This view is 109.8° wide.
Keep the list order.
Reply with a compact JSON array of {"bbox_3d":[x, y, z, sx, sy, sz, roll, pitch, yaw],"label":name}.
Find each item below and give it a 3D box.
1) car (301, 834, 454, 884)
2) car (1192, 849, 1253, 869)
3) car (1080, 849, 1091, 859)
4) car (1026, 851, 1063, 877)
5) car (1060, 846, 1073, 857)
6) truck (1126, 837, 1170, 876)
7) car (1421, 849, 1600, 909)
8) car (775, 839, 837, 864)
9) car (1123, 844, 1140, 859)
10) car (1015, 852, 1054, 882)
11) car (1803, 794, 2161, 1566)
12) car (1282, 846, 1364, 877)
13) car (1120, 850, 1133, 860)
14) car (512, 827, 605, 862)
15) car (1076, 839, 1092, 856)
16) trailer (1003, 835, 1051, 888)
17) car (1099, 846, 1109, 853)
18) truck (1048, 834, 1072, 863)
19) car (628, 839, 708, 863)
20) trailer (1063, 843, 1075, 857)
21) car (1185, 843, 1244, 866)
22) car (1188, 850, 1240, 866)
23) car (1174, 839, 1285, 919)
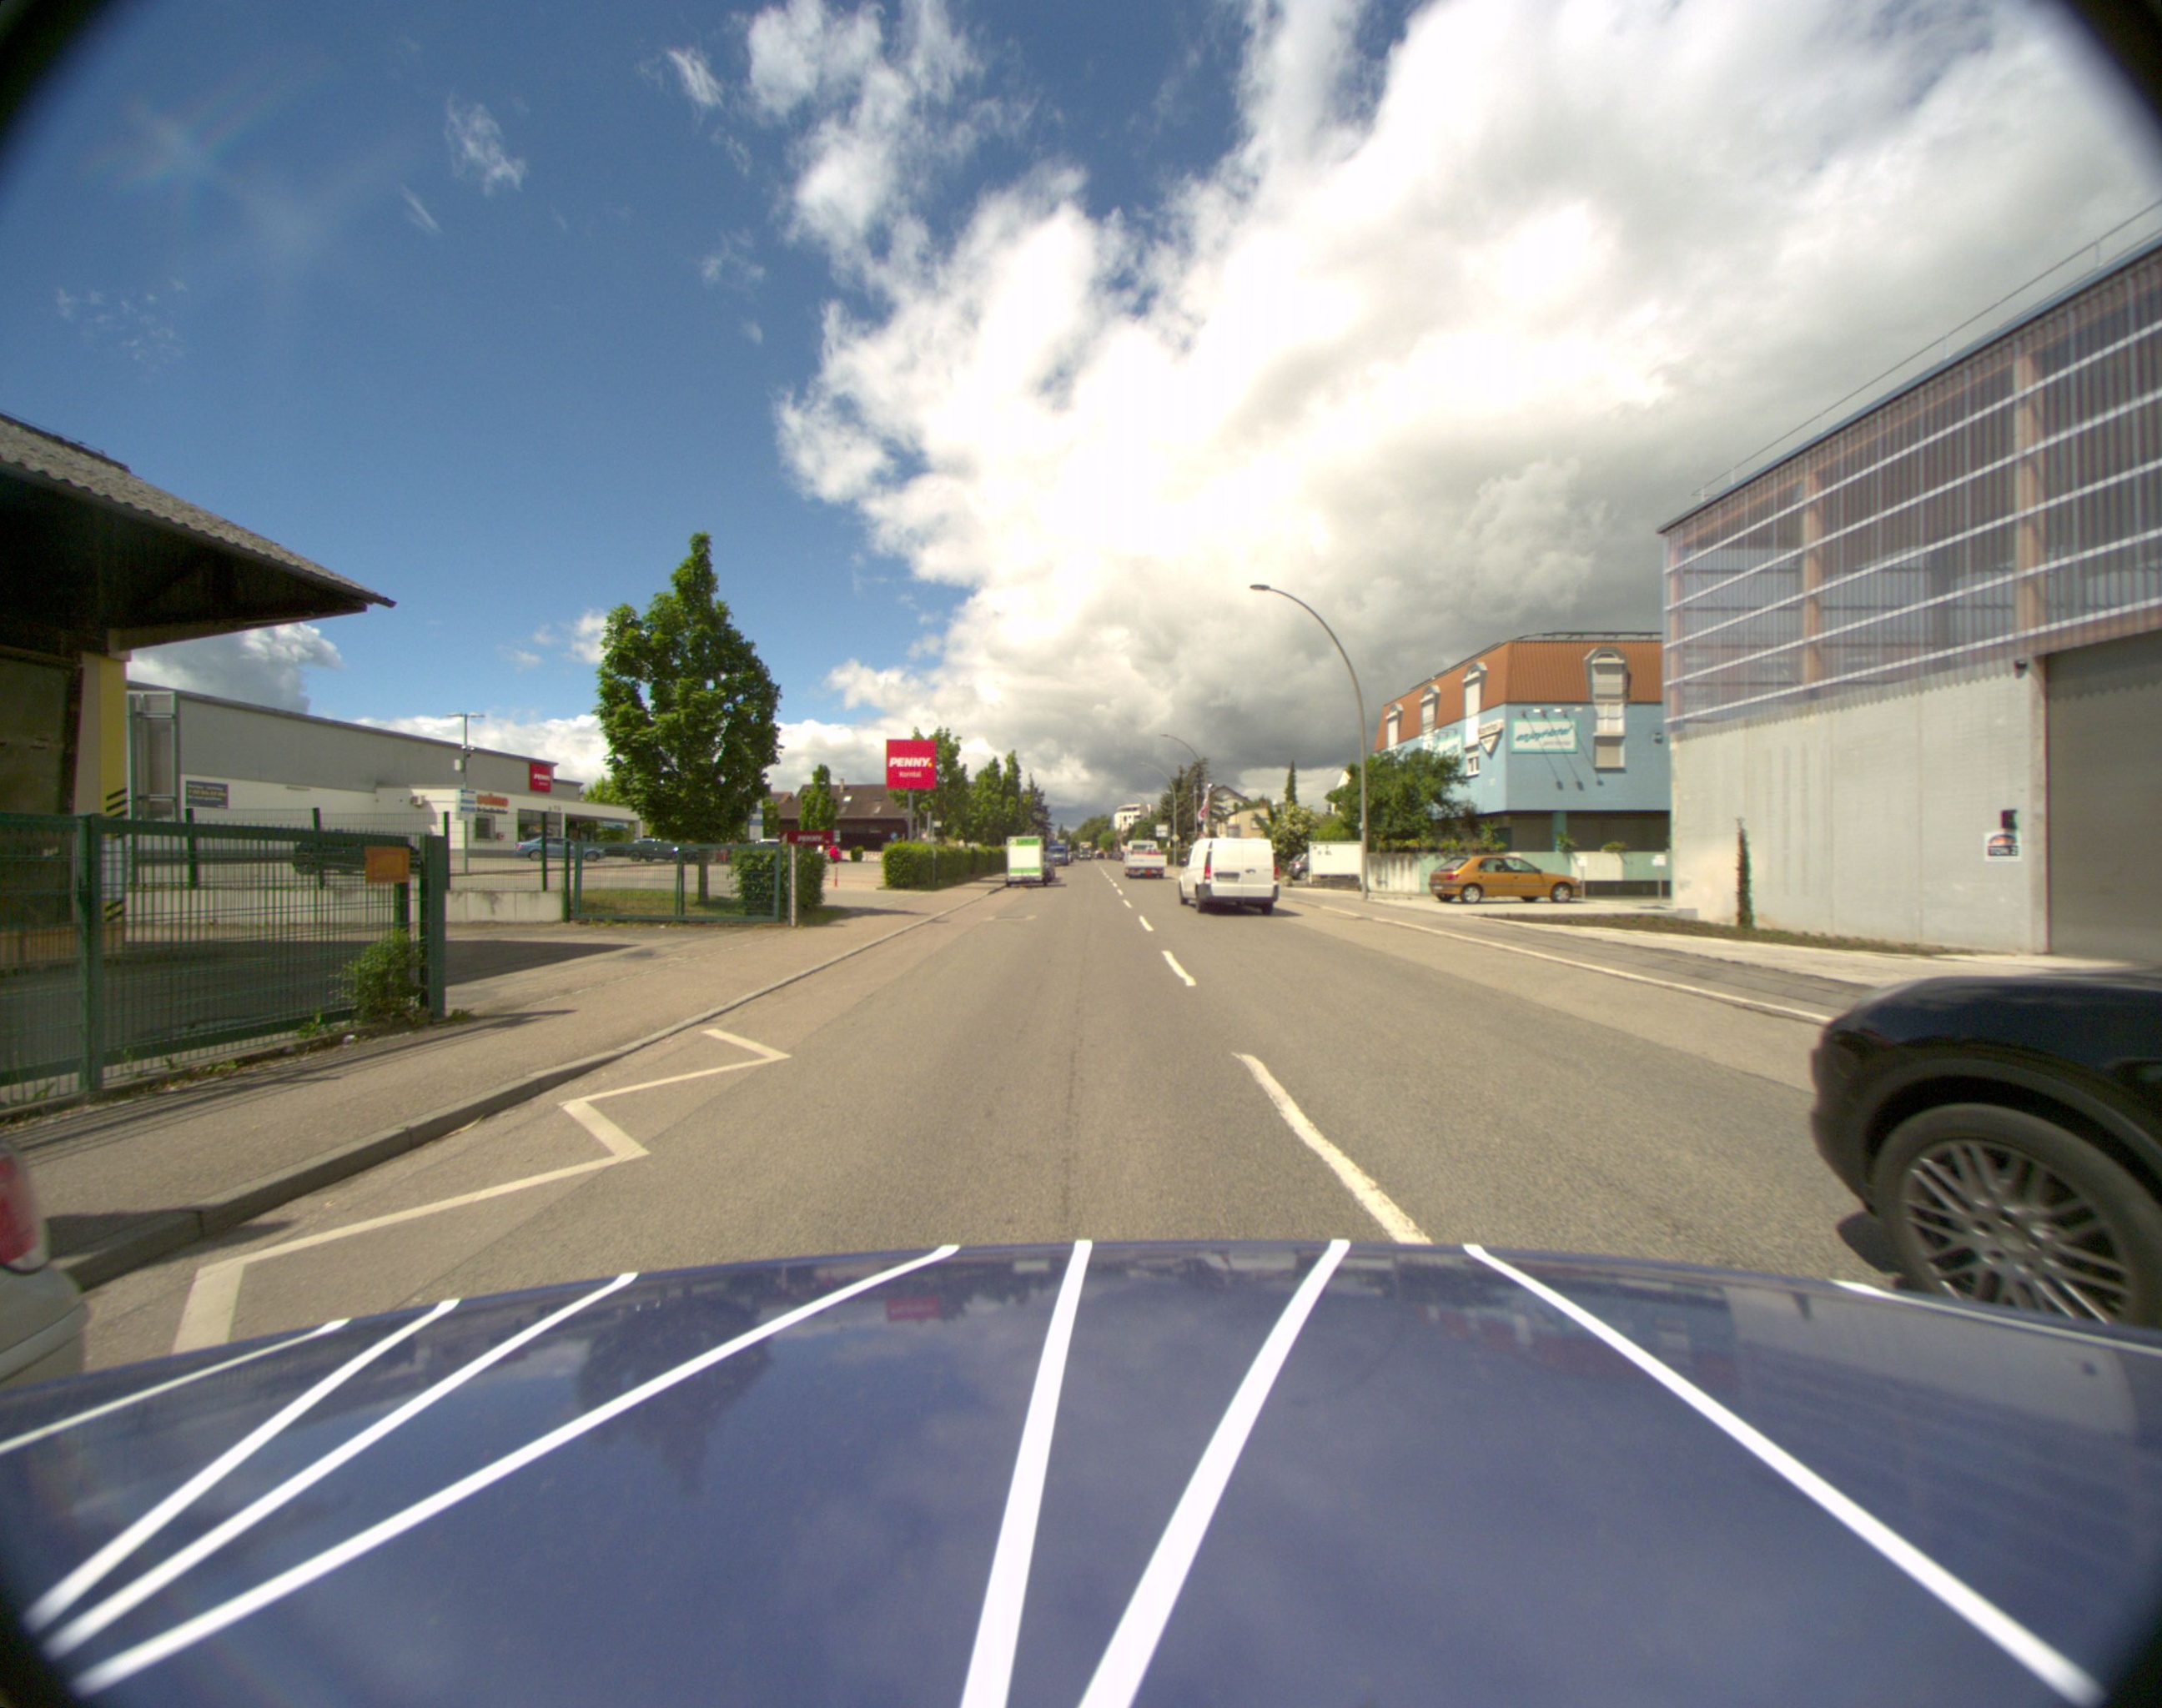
[{"bbox_3d":[-26.800,0.186,29.042,3.996,1.674,2.000,-3,0,3],"label":"car"},{"bbox_3d":[10.875,0.361,58.483,4.385,1.470,1.871,0,2,1],"label":"car"},{"bbox_3d":[0.784,-0.027,128.909,1.891,1.708,3.999,0,1,0],"label":"car"},{"bbox_3d":[-2.228,0.615,47.797,1.946,1.562,4.446,0,0,3],"label":"car"},{"bbox_3d":[-1.964,-0.338,104.417,1.777,1.499,4.000,0,0,0],"label":"car"},{"bbox_3d":[3.974,0.130,46.144,2.324,2.166,6.449,0,0,3],"label":"truck"},{"bbox_3d":[12.415,0.701,22.123,4.161,1.483,1.825,-3,0,-3],"label":"car"},{"bbox_3d":[-21.128,-0.177,58.498,3.997,1.696,2.000,-3,0,-1],"label":"car"},{"bbox_3d":[6.581,-0.268,98.728,1.748,1.827,4.355,3,0,-1],"label":"car"},{"bbox_3d":[-2.485,0.652,41.611,1.947,1.562,4.444,0,0,-1],"label":"car"},{"bbox_3d":[3.406,0.737,0.258,1.998,1.723,4.548,1,0,0],"label":"car"},{"bbox_3d":[12.373,0.368,38.975,3.636,1.524,1.980,-1,0,3],"label":"car"},{"bbox_3d":[7.257,0.158,120.886,1.724,1.484,4.735,1,0,-1],"label":"car"},{"bbox_3d":[-30.936,-0.571,45.047,4.311,1.892,1.995,-3,0,-39],"label":"car"},{"bbox_3d":[0.638,-1.452,171.807,3.263,3.595,10.269,-2,-1,-1],"label":"car"},{"bbox_3d":[-2.446,0.308,35.238,1.946,2.281,4.444,0,1,-1],"label":"trailer"},{"bbox_3d":[5.065,-0.995,169.400,1.999,1.606,4.411,1,0,0],"label":"car"},{"bbox_3d":[-2.317,-0.596,86.715,2.326,3.079,6.042,-2,0,1],"label":"truck"},{"bbox_3d":[-26.588,-0.193,49.058,3.997,1.346,2.000,-3,0,0],"label":"car"},{"bbox_3d":[-1.750,-0.652,116.411,1.777,2.132,4.114,0,0,0],"label":"trailer"},{"bbox_3d":[11.562,0.058,66.119,4.664,1.960,2.115,0,0,-3],"label":"car"},{"bbox_3d":[11.155,0.319,63.840,3.997,1.307,1.871,0,1,-1],"label":"car"},{"bbox_3d":[3.818,0.589,20.502,1.998,1.877,5.116,0,0,0],"label":"car"}]
